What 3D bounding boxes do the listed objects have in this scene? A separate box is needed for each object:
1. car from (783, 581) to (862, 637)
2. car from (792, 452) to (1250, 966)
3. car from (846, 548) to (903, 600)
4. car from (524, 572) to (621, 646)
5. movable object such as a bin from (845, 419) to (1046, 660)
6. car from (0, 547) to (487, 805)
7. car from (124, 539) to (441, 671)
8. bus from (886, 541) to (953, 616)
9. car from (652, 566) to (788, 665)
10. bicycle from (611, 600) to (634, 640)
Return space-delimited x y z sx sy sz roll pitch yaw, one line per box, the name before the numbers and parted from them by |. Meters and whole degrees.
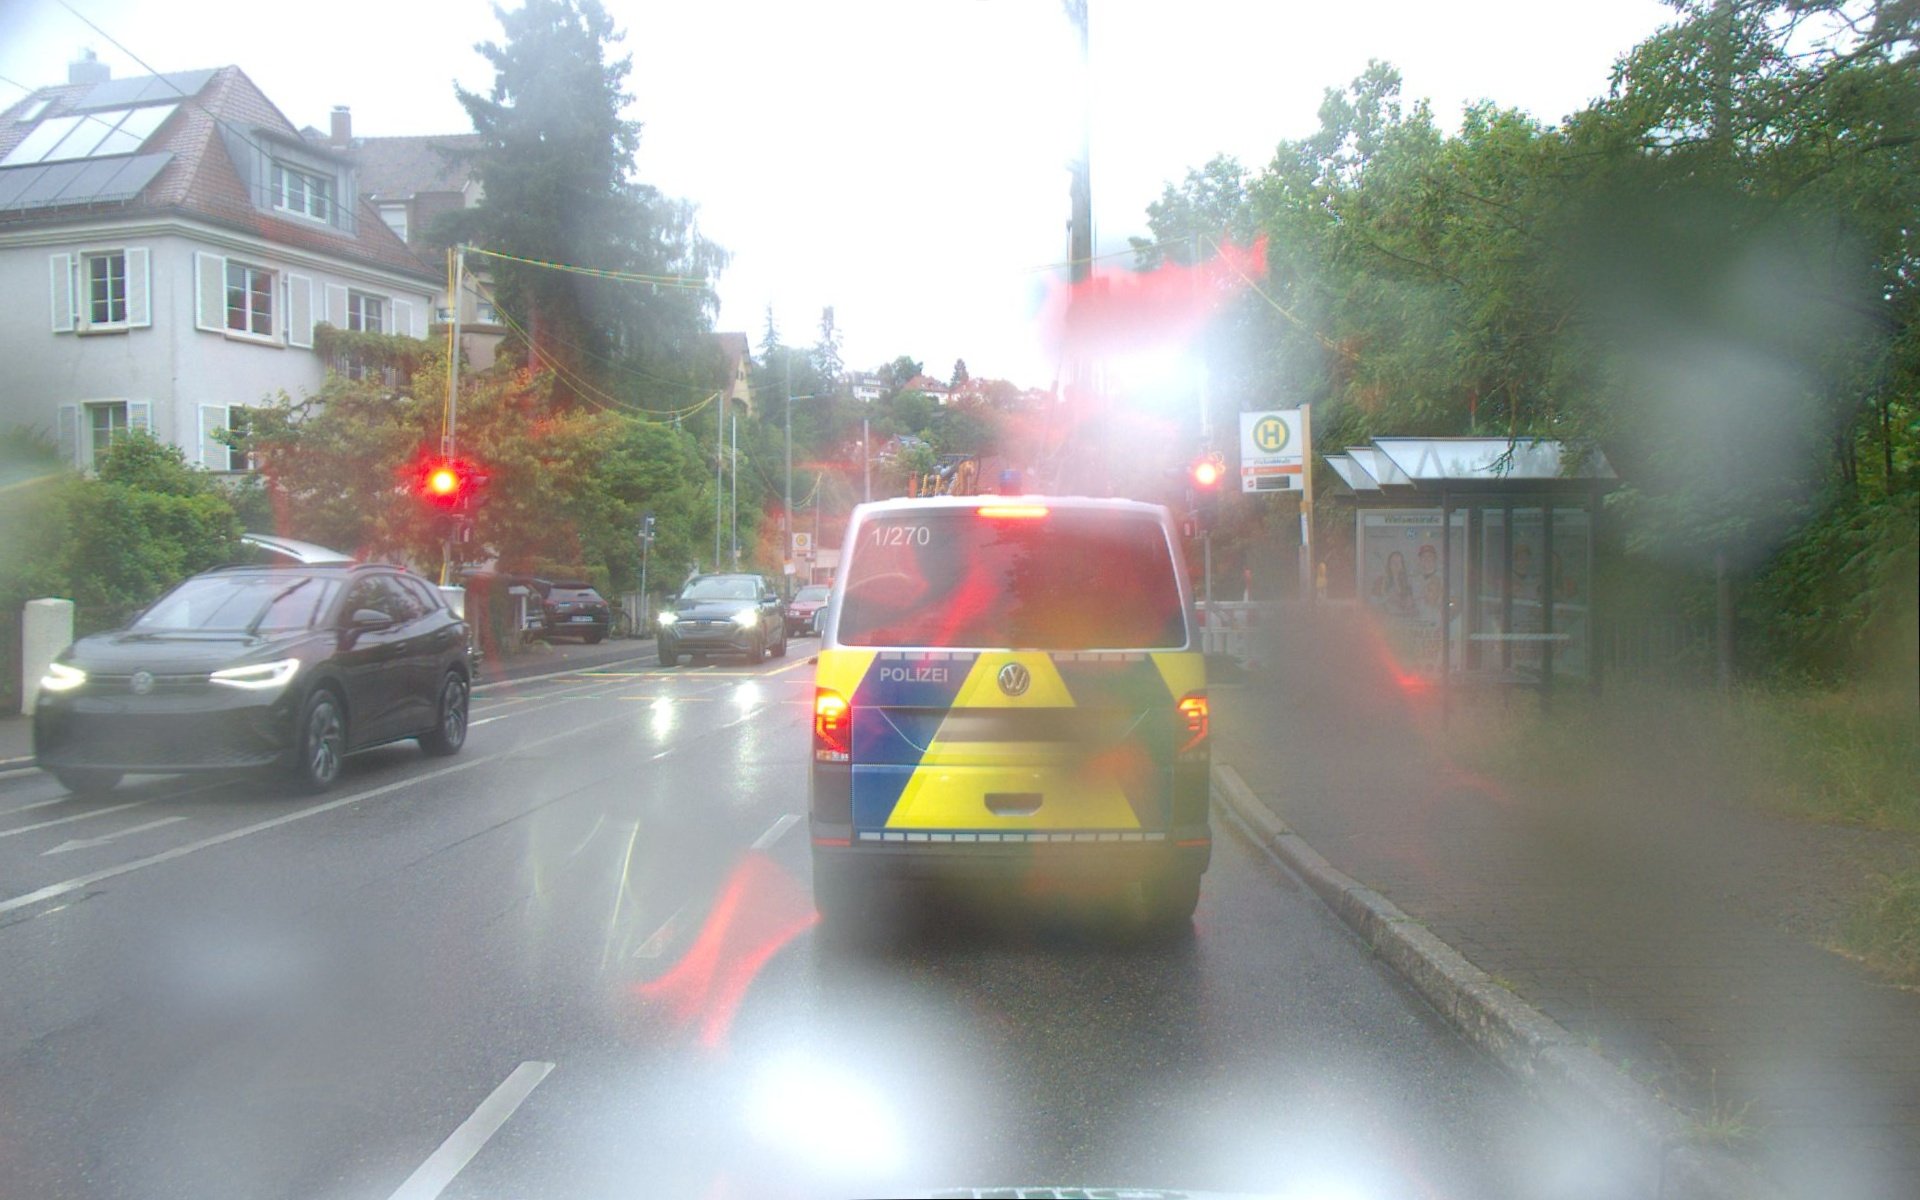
car | -3.877 0.219 47.161 1.727 1.488 3.888 1 1 3
car | 0.226 0.438 8.815 1.855 2.086 3.999 1 0 -1
car | -3.148 -0.949 60.021 1.940 1.778 4.549 1 1 -4
car | -8.912 0.181 37.823 1.739 1.512 3.721 1 2 -20
movable object such as a bin | -0.167 -1.091 31.633 2.770 4.250 4.384 1 0 14
car | -5.246 0.492 12.794 1.828 1.650 4.166 -1 0 2
car | -11.210 0.061 27.485 4.532 2.042 1.902 1 0 11
bus | -2.067 -1.125 89.309 2.782 3.783 12.009 1 0 2
car | -4.488 0.271 31.624 1.953 1.703 4.687 1 0 -1
bicycle | -8.054 0.471 39.449 0.455 0.913 1.628 0 0 -15
